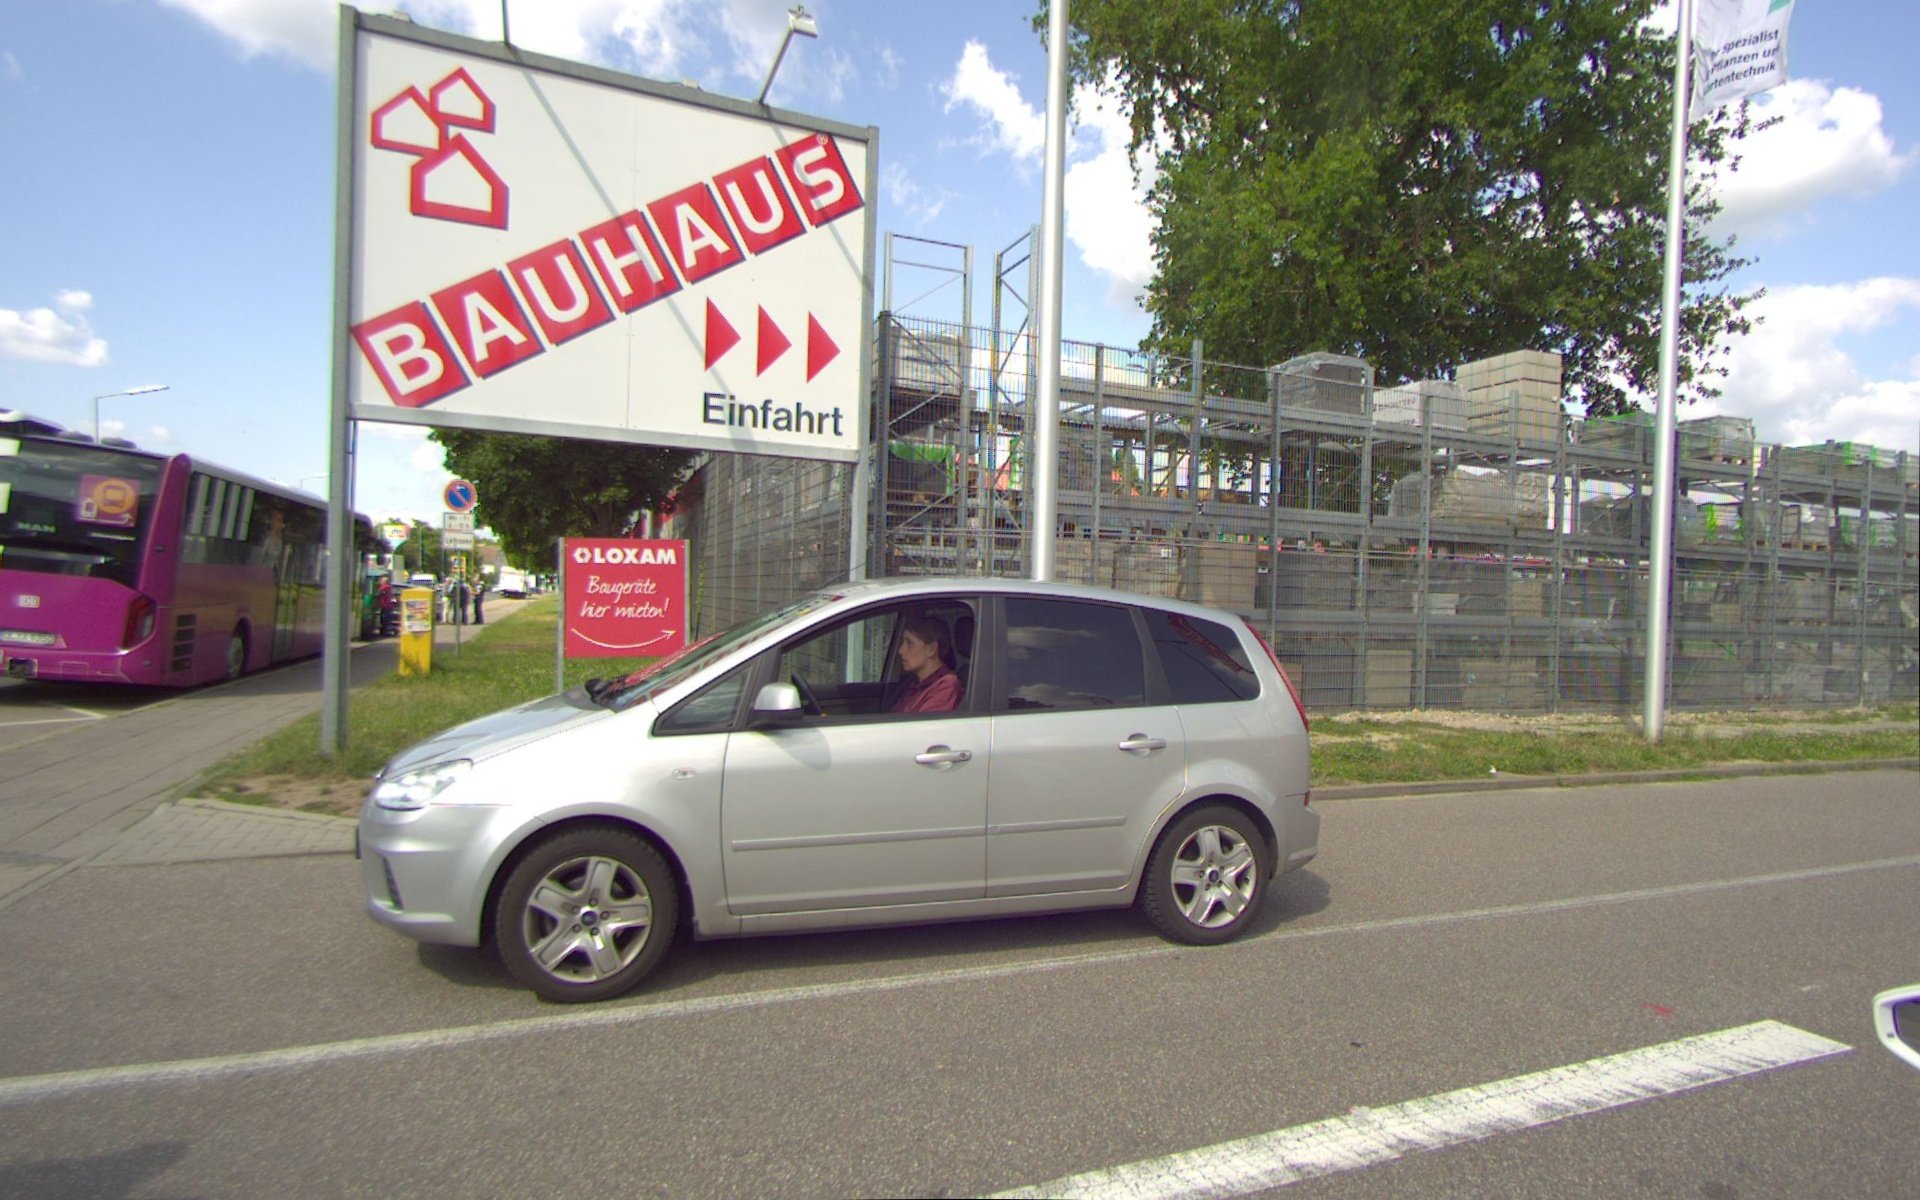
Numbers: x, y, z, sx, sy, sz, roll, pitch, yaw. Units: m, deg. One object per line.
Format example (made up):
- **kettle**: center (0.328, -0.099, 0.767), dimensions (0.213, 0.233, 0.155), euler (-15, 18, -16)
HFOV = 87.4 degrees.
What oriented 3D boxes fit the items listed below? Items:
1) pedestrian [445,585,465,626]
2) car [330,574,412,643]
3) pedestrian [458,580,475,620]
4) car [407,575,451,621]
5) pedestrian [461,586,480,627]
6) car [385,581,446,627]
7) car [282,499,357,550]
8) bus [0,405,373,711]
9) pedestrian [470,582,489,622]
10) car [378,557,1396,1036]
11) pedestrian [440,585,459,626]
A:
- **pedestrian**: center (-18.209, 0.216, 36.243), dimensions (0.382, 1.448, 0.377), euler (4, -2, 6)
- **car**: center (-16.625, 0.240, 28.494), dimensions (1.427, 1.829, 3.622), euler (0, 0, -21)
- **pedestrian**: center (-18.448, 0.005, 37.546), dimensions (0.387, 1.448, 0.372), euler (5, -1, -39)
- **car**: center (-22.665, -0.065, 42.918), dimensions (1.329, 1.779, 2.863), euler (5, -2, -24)
- **pedestrian**: center (-17.835, 0.231, 36.615), dimensions (0.382, 1.448, 0.377), euler (4, -2, 6)
- **car**: center (-19.883, 0.153, 36.786), dimensions (1.535, 1.570, 3.186), euler (0, 0, -21)
- **car**: center (-23.477, -2.739, 36.902), dimensions (1.668, 1.434, 2.934), euler (6, -2, -22)
- **bus**: center (-12.506, -0.500, 16.697), dimensions (2.850, 3.409, 11.511), euler (1, 0, -21)
- **pedestrian**: center (-17.799, 0.071, 37.236), dimensions (0.382, 1.448, 0.377), euler (4, -2, 6)
- **car**: center (-0.215, 0.701, 4.815), dimensions (4.144, 1.585, 1.716), euler (2, 0, -19)
- **pedestrian**: center (-18.715, 0.209, 36.818), dimensions (0.382, 1.448, 0.377), euler (4, -2, 6)
